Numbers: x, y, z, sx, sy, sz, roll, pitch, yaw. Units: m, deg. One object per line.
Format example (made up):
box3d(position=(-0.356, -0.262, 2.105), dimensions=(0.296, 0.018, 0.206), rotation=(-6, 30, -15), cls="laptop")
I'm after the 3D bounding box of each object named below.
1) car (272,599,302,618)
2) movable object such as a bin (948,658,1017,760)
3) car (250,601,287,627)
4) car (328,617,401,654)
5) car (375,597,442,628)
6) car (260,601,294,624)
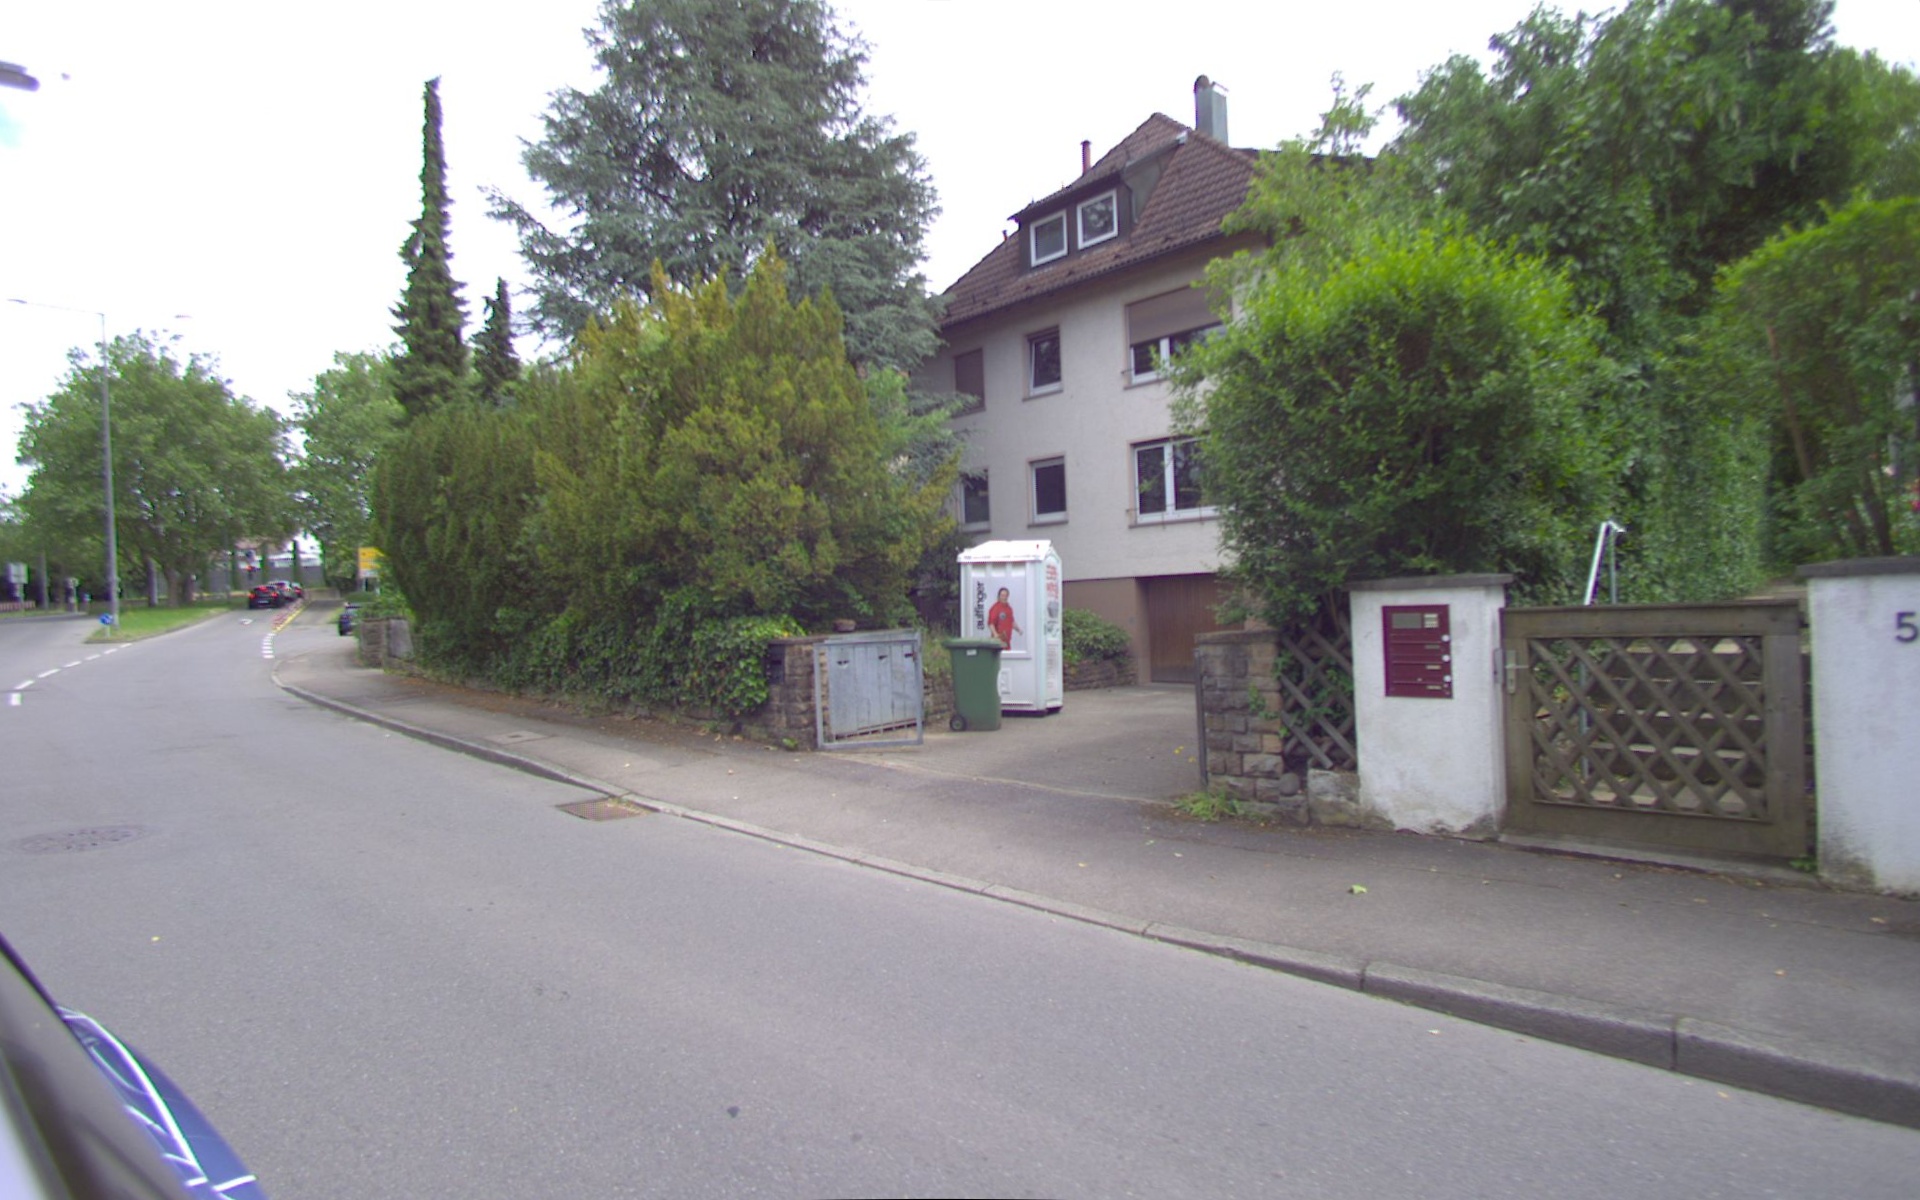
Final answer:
box3d(position=(-58.243, 0.710, 87.629), dimensions=(1.732, 1.528, 4.401), rotation=(-2, 1, -29), cls="car")
box3d(position=(0.263, 1.241, 11.601), dimensions=(0.612, 1.096, 0.656), rotation=(-3, -2, 15), cls="movable object such as a bin")
box3d(position=(-50.142, 0.994, 73.426), dimensions=(1.732, 1.603, 4.628), rotation=(-2, 3, -29), cls="car")
box3d(position=(-27.737, 1.619, 47.300), dimensions=(1.704, 1.485, 4.326), rotation=(-1, 0, -13), cls="car")
box3d(position=(-28.964, 0.624, 53.296), dimensions=(1.705, 1.485, 4.286), rotation=(-1, 0, -8), cls="car")
box3d(position=(-55.092, 1.030, 81.699), dimensions=(1.826, 1.671, 4.921), rotation=(-2, -1, -29), cls="car")
